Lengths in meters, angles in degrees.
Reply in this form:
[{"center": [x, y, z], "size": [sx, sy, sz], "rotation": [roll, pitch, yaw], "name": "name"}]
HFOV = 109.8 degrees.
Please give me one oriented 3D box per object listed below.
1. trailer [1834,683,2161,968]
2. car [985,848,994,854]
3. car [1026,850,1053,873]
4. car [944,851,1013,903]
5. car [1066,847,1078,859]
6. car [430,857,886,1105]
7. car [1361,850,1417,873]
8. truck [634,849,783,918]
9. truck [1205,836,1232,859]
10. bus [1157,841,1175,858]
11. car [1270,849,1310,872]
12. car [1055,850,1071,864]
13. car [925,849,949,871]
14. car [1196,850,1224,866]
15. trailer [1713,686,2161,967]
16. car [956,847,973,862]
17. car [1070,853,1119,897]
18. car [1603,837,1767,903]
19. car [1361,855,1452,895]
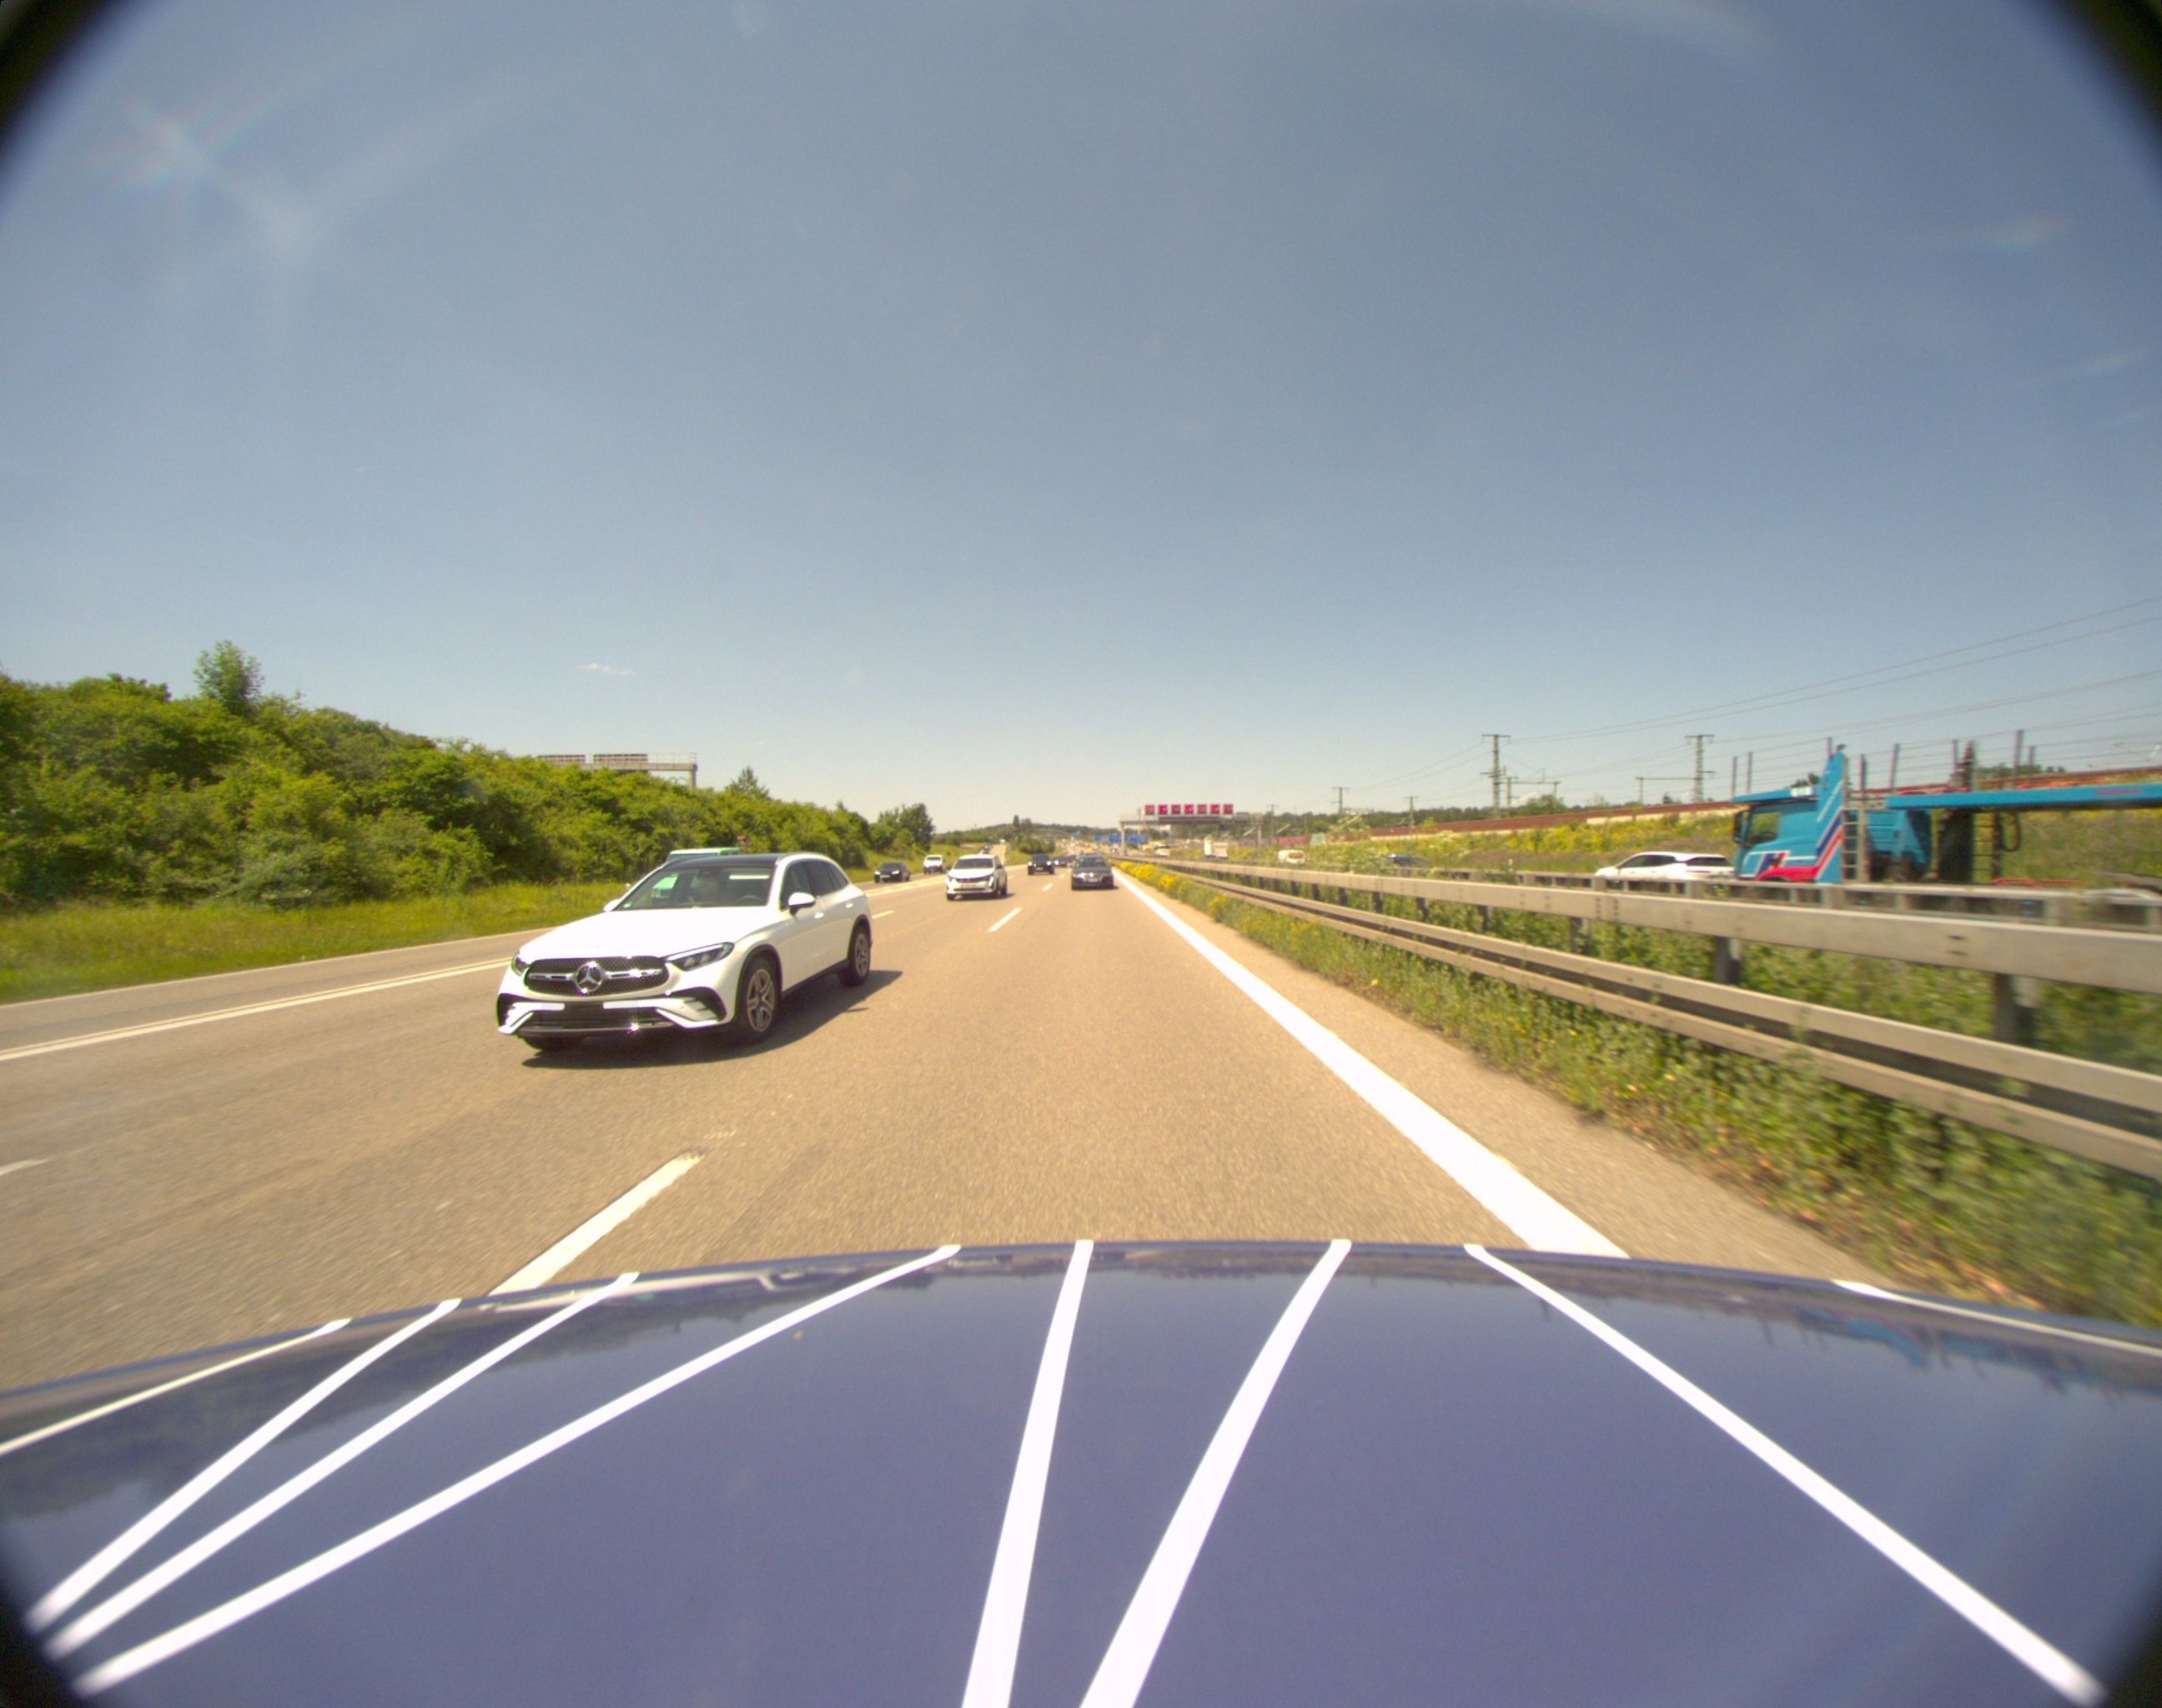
[{"center": [16.043, -0.383, 6.733], "size": [3.058, 3.845, 15.976], "rotation": [-1, 0, 1], "name": "trailer"}, {"center": [-26.385, -0.820, 219.132], "size": [1.983, 1.620, 4.615], "rotation": [-2, 1, -1], "name": "car"}, {"center": [-3.269, 0.579, 60.706], "size": [1.983, 1.620, 4.615], "rotation": [-2, 1, -1], "name": "car"}, {"center": [-3.791, 0.794, 28.754], "size": [1.898, 1.620, 4.616], "rotation": [-2, 1, 0], "name": "car"}, {"center": [-1.639, -0.215, 139.516], "size": [1.999, 2.002, 3.999], "rotation": [-2, 1, 0], "name": "car"}, {"center": [-3.586, 0.915, 7.701], "size": [1.909, 1.646, 4.636], "rotation": [-2, 0, 1], "name": "car"}, {"center": [20.305, 0.451, 50.284], "size": [1.925, 1.409, 4.584], "rotation": [1, 0, 1], "name": "car"}, {"center": [-12.724, 0.896, 26.573], "size": [2.170, 2.080, 6.117], "rotation": [-1, 1, 0], "name": "truck"}, {"center": [21.570, -1.028, 119.302], "size": [2.864, 3.446, 7.780], "rotation": [-3, 0, 1], "name": "truck"}, {"center": [19.246, -1.033, 172.483], "size": [2.864, 3.624, 10.940], "rotation": [-3, 0, 1], "name": "bus"}, {"center": [17.124, 0.465, 62.377], "size": [1.925, 1.790, 5.196], "rotation": [1, 0, 1], "name": "car"}, {"center": [-2.076, 0.330, 87.439], "size": [1.752, 1.462, 3.998], "rotation": [-2, 2, -2], "name": "car"}, {"center": [-14.964, 0.637, 79.271], "size": [2.000, 2.159, 4.890], "rotation": [-2, 0, -6], "name": "car"}, {"center": [13.475, 0.414, 79.638], "size": [1.925, 1.601, 5.396], "rotation": [1, 0, 0], "name": "car"}, {"center": [16.135, -0.414, 14.003], "size": [3.058, 3.845, 7.203], "rotation": [-1, 0, 1], "name": "trailer"}, {"center": [-16.967, 0.080, 110.590], "size": [1.999, 2.002, 3.998], "rotation": [-3, 2, -3], "name": "car"}, {"center": [0.491, 0.780, 30.048], "size": [1.752, 1.462, 3.998], "rotation": [-2, 2, 0], "name": "car"}, {"center": [20.315, 0.452, 25.862], "size": [1.998, 2.002, 4.494], "rotation": [0, 2, 1], "name": "car"}, {"center": [12.853, 0.784, 30.311], "size": [1.891, 1.336, 4.132], "rotation": [0, 2, 1], "name": "car"}]
